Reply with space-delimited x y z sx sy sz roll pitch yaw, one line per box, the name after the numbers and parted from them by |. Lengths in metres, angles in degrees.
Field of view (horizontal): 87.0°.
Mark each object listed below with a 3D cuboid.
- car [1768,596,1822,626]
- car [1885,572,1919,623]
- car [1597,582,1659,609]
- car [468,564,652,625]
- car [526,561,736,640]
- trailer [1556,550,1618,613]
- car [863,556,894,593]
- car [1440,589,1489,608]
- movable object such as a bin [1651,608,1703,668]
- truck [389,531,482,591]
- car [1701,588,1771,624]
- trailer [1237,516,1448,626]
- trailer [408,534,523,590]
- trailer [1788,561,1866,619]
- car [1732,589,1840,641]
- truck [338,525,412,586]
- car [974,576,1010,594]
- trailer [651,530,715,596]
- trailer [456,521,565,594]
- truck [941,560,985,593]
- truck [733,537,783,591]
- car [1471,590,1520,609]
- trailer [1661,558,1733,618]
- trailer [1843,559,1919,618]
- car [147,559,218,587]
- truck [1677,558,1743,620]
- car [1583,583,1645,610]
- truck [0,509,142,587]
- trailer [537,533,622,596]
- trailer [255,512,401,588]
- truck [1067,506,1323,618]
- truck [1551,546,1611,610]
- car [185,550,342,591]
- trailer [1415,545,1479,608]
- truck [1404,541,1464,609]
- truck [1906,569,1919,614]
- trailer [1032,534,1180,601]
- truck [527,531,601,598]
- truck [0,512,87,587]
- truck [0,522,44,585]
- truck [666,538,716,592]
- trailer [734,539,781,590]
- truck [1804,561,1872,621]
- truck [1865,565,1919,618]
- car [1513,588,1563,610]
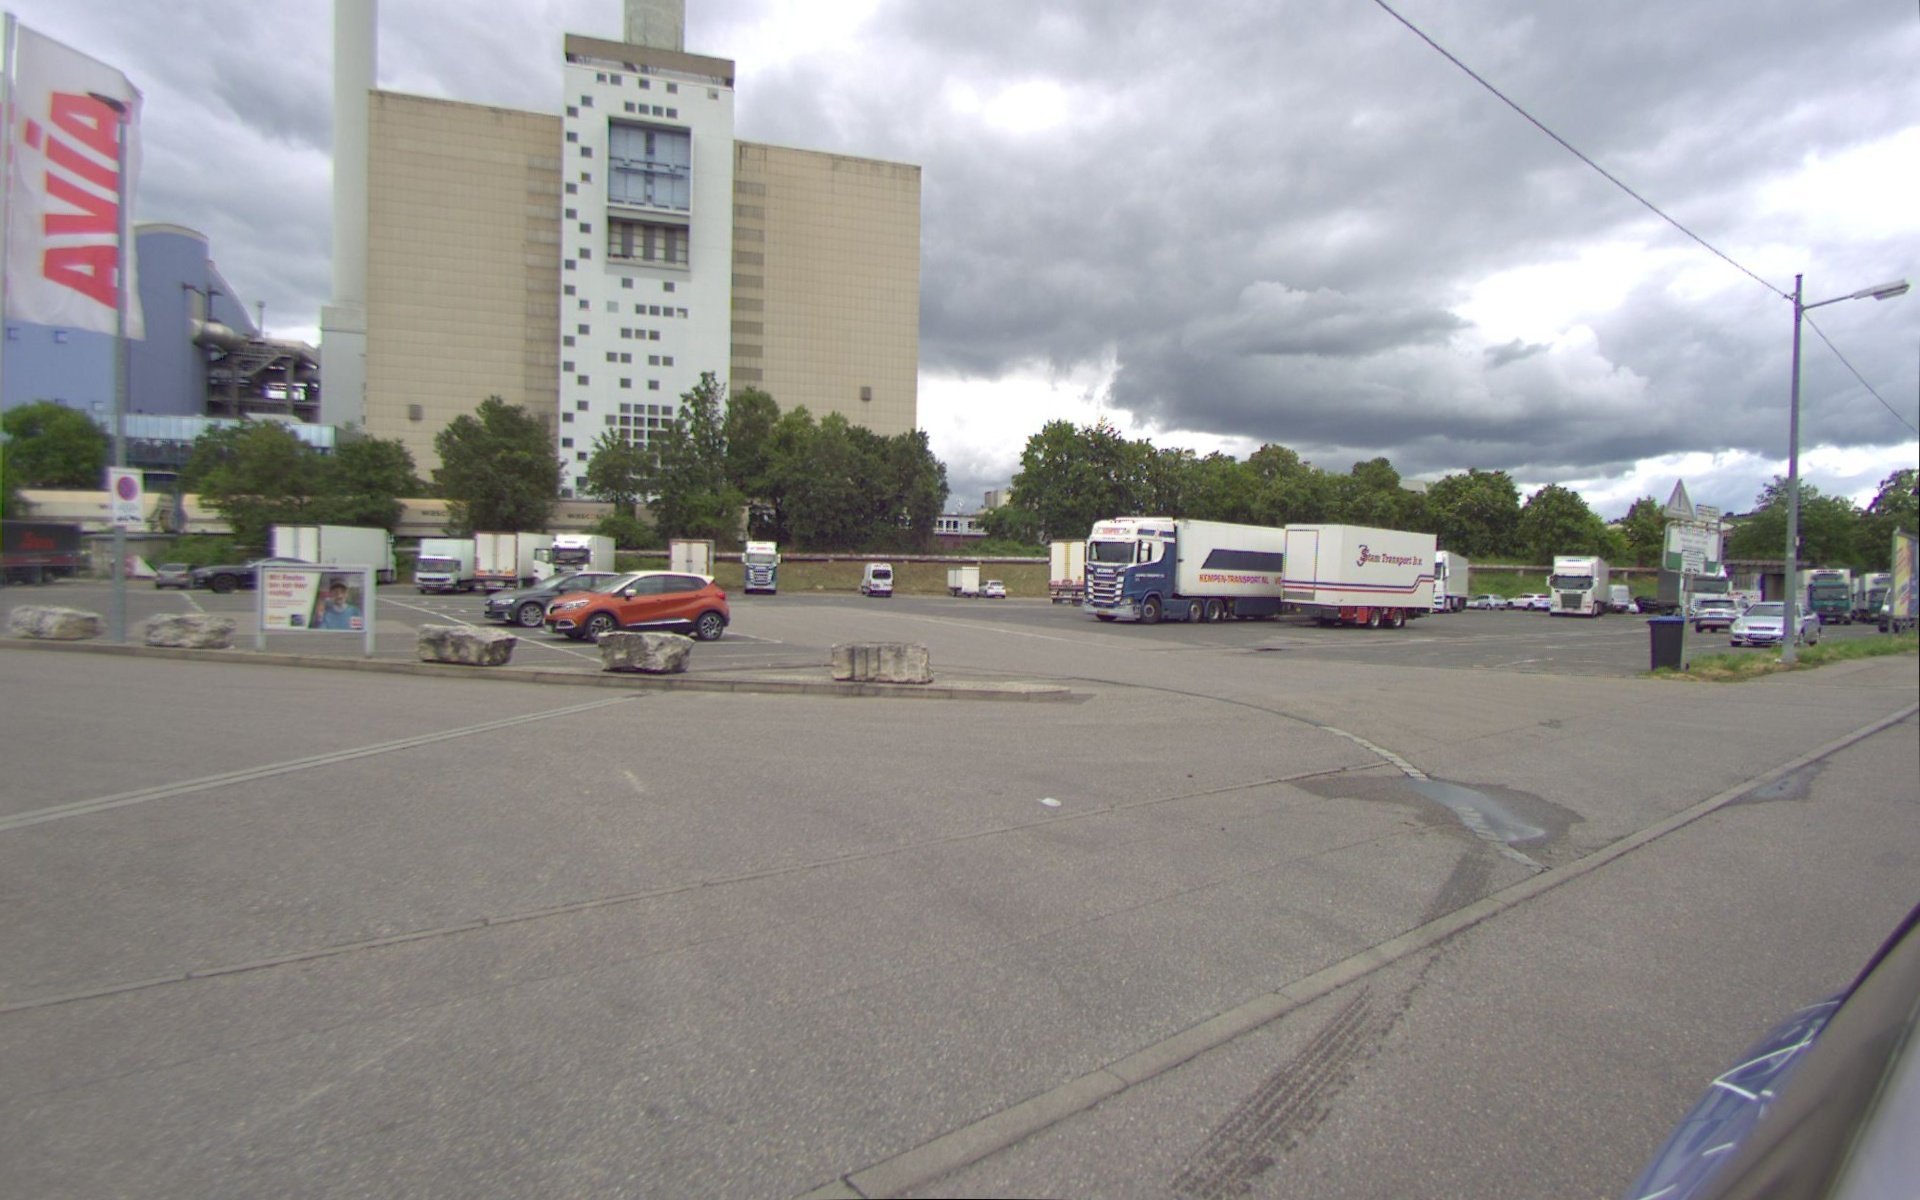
45.824 0.583 55.504 3.979 1.513 1.497 0 1 -39 | car
49.015 -0.125 51.392 5.973 2.445 2.091 0 1 -39 | car
65.421 -0.484 99.215 2.322 2.479 4.928 1 1 -8 | car
-10.443 -0.162 26.589 4.142 1.408 1.769 0 3 -41 | car
-7.371 -0.012 22.859 4.142 1.590 1.769 0 3 -41 | car
45.794 -1.326 73.738 2.823 4.145 13.224 3 2 36 | trailer
-6.657 -2.051 82.338 2.065 2.872 5.096 1 1 -9 | car
48.094 -0.141 96.521 1.958 1.629 4.229 1 1 -10 | car
13.671 0.712 19.293 0.714 1.095 0.652 2 1 44 | movable object such as a bin
-34.291 -2.498 66.485 3.634 3.602 7.272 1 1 -12 | truck
35.784 0.279 46.641 3.930 1.591 1.768 0 -1 -41 | car
15.770 -1.121 41.214 10.213 4.015 2.967 0 3 -38 | trailer
-36.325 -2.739 75.419 3.566 3.590 18.541 1 1 -13 | trailer
67.206 -0.797 78.747 2.821 4.145 13.234 3 2 34 | trailer
25.646 0.433 31.371 4.479 1.482 1.777 0 1 -40 | car
-45.619 -3.407 79.161 3.474 4.488 6.669 0 1 -15 | truck
2.688 -1.282 85.895 1.958 1.371 4.157 1 2 -13 | car
-20.162 -2.637 74.808 3.566 4.225 18.540 1 1 -12 | trailer
-31.538 -2.843 72.076 3.484 4.557 18.328 0 1 -12 | trailer
0.188 -2.019 86.230 2.233 2.521 5.973 2 3 -14 | truck
-16.223 -2.824 81.023 3.634 4.014 7.271 1 1 -12 | truck
50.601 -0.099 95.712 1.958 1.629 4.008 1 1 -10 | car
56.891 -0.949 78.419 2.816 4.145 13.257 3 2 29 | trailer
72.363 -0.906 79.350 2.821 4.145 13.234 3 2 34 | trailer
-47.988 -1.671 62.584 1.948 1.620 4.700 1 1 -17 | car
53.361 -0.836 72.173 2.851 4.145 6.685 3 2 30 | truck
63.055 -0.398 97.722 2.322 2.479 4.928 1 1 -8 | car
-54.742 -3.008 61.609 2.812 4.344 12.004 0 1 -14 | truck
-28.594 -2.590 77.074 3.566 4.140 18.541 1 1 -13 | trailer
-43.175 -3.192 70.184 3.484 4.557 18.331 0 1 -15 | trailer
10.033 -1.451 41.588 12.837 4.015 3.082 0 3 -40 | truck
42.296 -1.485 68.791 2.858 4.145 6.669 3 2 36 | truck
-25.750 -1.067 37.506 4.602 1.386 1.987 0 1 -41 | car
35.009 -1.644 72.447 2.597 4.145 12.300 3 2 32 | trailer
31.218 -1.631 66.517 2.597 4.145 6.678 3 2 33 | truck
81.411 -0.693 83.723 2.808 3.757 9.001 1 1 32 | truck
9.840 -2.005 65.963 3.621 3.959 13.560 2 1 36 | trailer
-26.487 -2.337 68.102 3.633 4.171 7.272 1 1 -14 | truck
-57.677 -3.000 60.766 2.812 4.344 12.004 0 1 -14 | truck
-67.600 -3.207 68.593 2.812 4.344 12.004 0 1 -14 | truck
-22.234 -2.879 83.944 3.634 4.225 7.272 1 1 -12 | truck
-18.184 -3.043 89.950 3.566 4.008 18.540 1 1 -12 | trailer
63.836 -0.698 73.719 2.856 4.063 6.672 3 2 35 | truck
68.842 -0.630 74.109 2.856 3.675 6.672 3 2 35 | truck
55.123 -0.125 96.558 1.958 1.896 4.008 1 1 -10 | car
